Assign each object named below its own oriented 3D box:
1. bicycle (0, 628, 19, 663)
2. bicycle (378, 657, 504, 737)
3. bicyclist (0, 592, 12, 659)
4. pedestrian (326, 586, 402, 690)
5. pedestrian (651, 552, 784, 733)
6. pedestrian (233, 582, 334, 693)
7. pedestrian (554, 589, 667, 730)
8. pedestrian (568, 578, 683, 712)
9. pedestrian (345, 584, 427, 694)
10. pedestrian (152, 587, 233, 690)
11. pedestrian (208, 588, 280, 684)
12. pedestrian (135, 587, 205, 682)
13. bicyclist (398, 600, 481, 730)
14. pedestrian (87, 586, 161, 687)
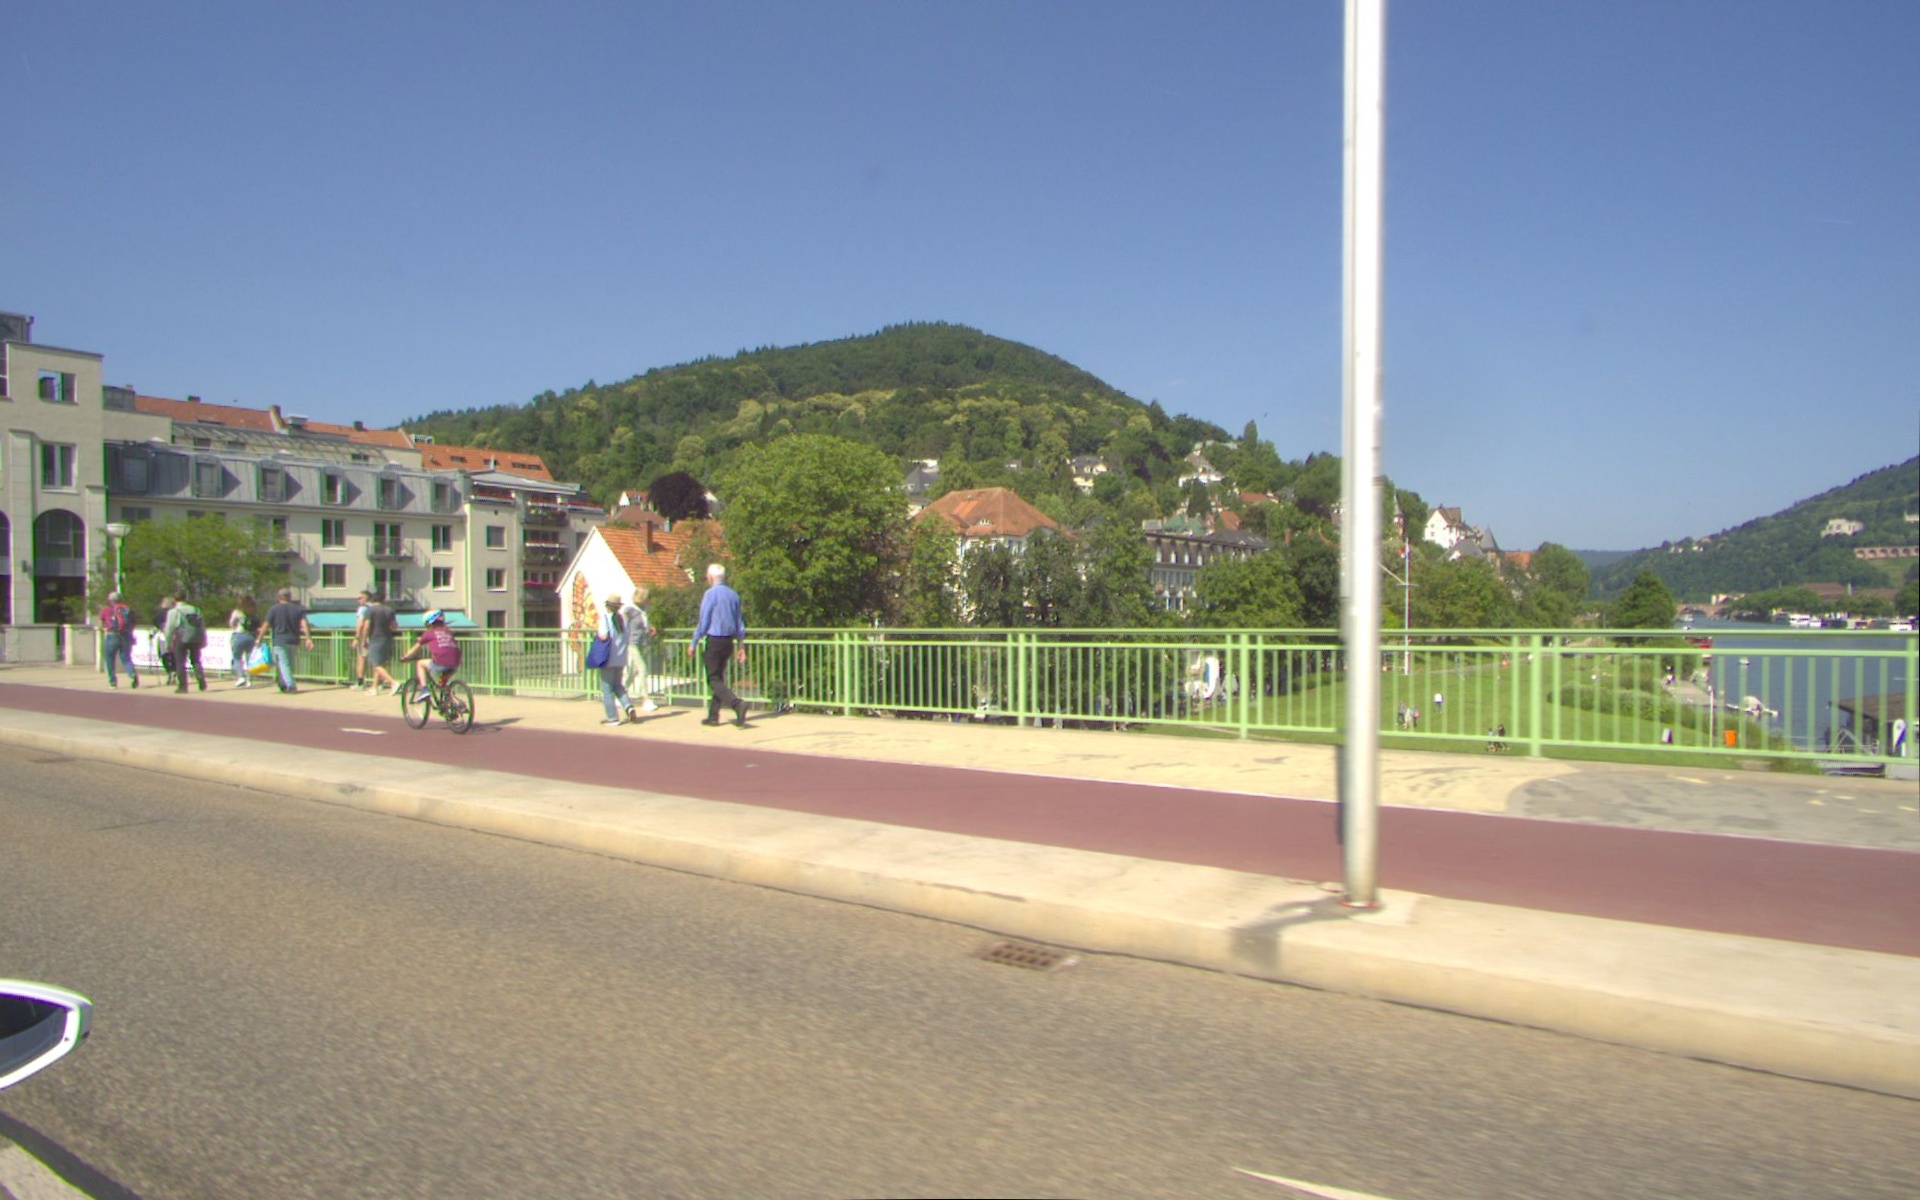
[{"bbox_3d":[-25.238,1.194,25.616,0.785,0.894,1.826,-1,0,-10],"label":"bicycle"},{"bbox_3d":[-5.892,1.072,11.341,1.637,0.776,0.512,-1,2,33],"label":"bicycle"},{"bbox_3d":[-25.240,0.656,25.579,1.121,1.718,0.924,-1,1,-10],"label":"bicyclist"},{"bbox_3d":[-10.297,0.634,17.308,1.001,1.741,0.737,0,1,32],"label":"pedestrian"},{"bbox_3d":[-2.730,0.458,11.321,1.121,1.923,0.924,0,1,32],"label":"pedestrian"},{"bbox_3d":[-11.504,0.611,17.034,1.190,1.802,0.975,0,2,32],"label":"pedestrian"},{"bbox_3d":[-4.070,0.662,11.679,0.919,1.550,0.827,0,2,32],"label":"pedestrian"},{"bbox_3d":[-4.445,0.565,13.328,1.067,1.685,0.945,0,2,32],"label":"pedestrian"},{"bbox_3d":[-9.436,0.614,16.471,1.001,1.742,0.737,0,2,32],"label":"pedestrian"},{"bbox_3d":[-13.477,0.661,17.589,1.058,1.741,0.753,0,2,32],"label":"pedestrian"},{"bbox_3d":[-13.591,0.666,19.021,1.001,1.770,0.737,0,2,32],"label":"pedestrian"},{"bbox_3d":[-15.439,0.652,19.572,1.001,1.802,0.737,0,2,32],"label":"pedestrian"},{"bbox_3d":[-5.875,0.715,11.311,0.659,1.402,0.532,0,2,32],"label":"bicyclist"},{"bbox_3d":[-15.730,0.666,18.838,1.001,1.827,0.737,0,2,32],"label":"pedestrian"}]
